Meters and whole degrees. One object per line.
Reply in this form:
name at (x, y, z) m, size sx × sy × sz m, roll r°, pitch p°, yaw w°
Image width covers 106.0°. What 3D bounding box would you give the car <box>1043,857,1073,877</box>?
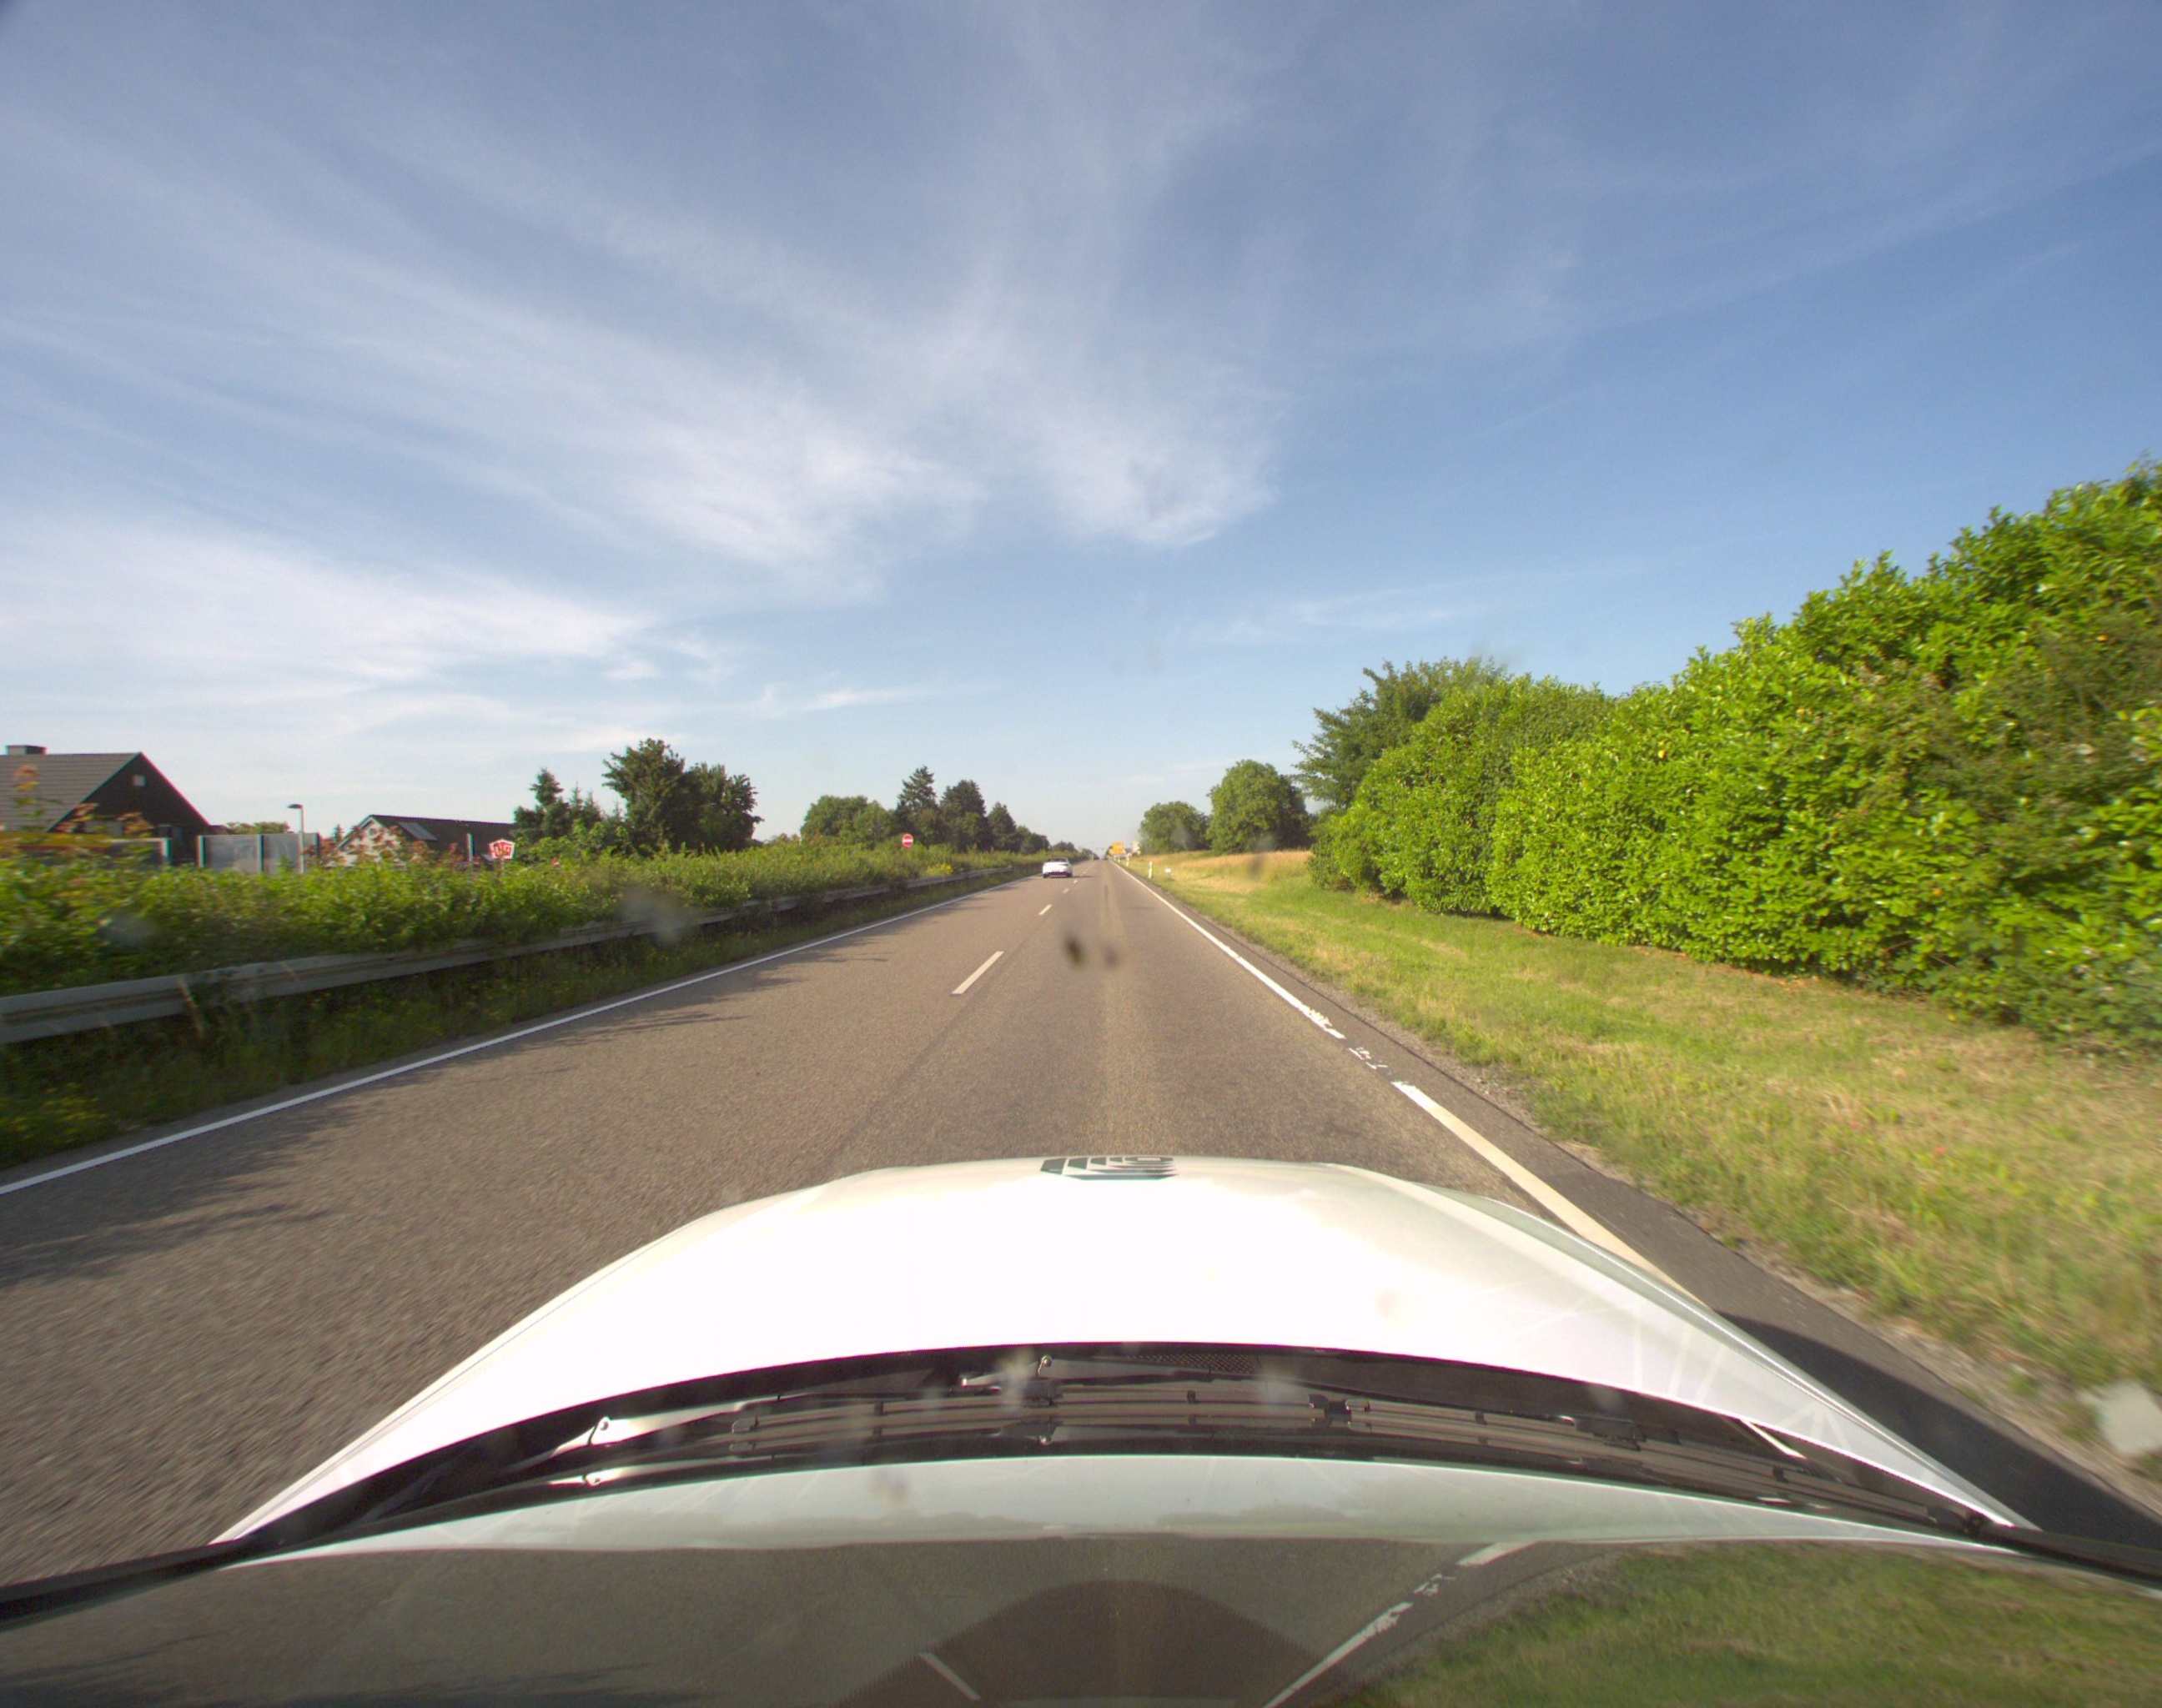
car at (-1.522, 0.866, 56.329) m, size 1.764 × 1.337 × 4.952 m, roll 0°, pitch -1°, yaw 2°
